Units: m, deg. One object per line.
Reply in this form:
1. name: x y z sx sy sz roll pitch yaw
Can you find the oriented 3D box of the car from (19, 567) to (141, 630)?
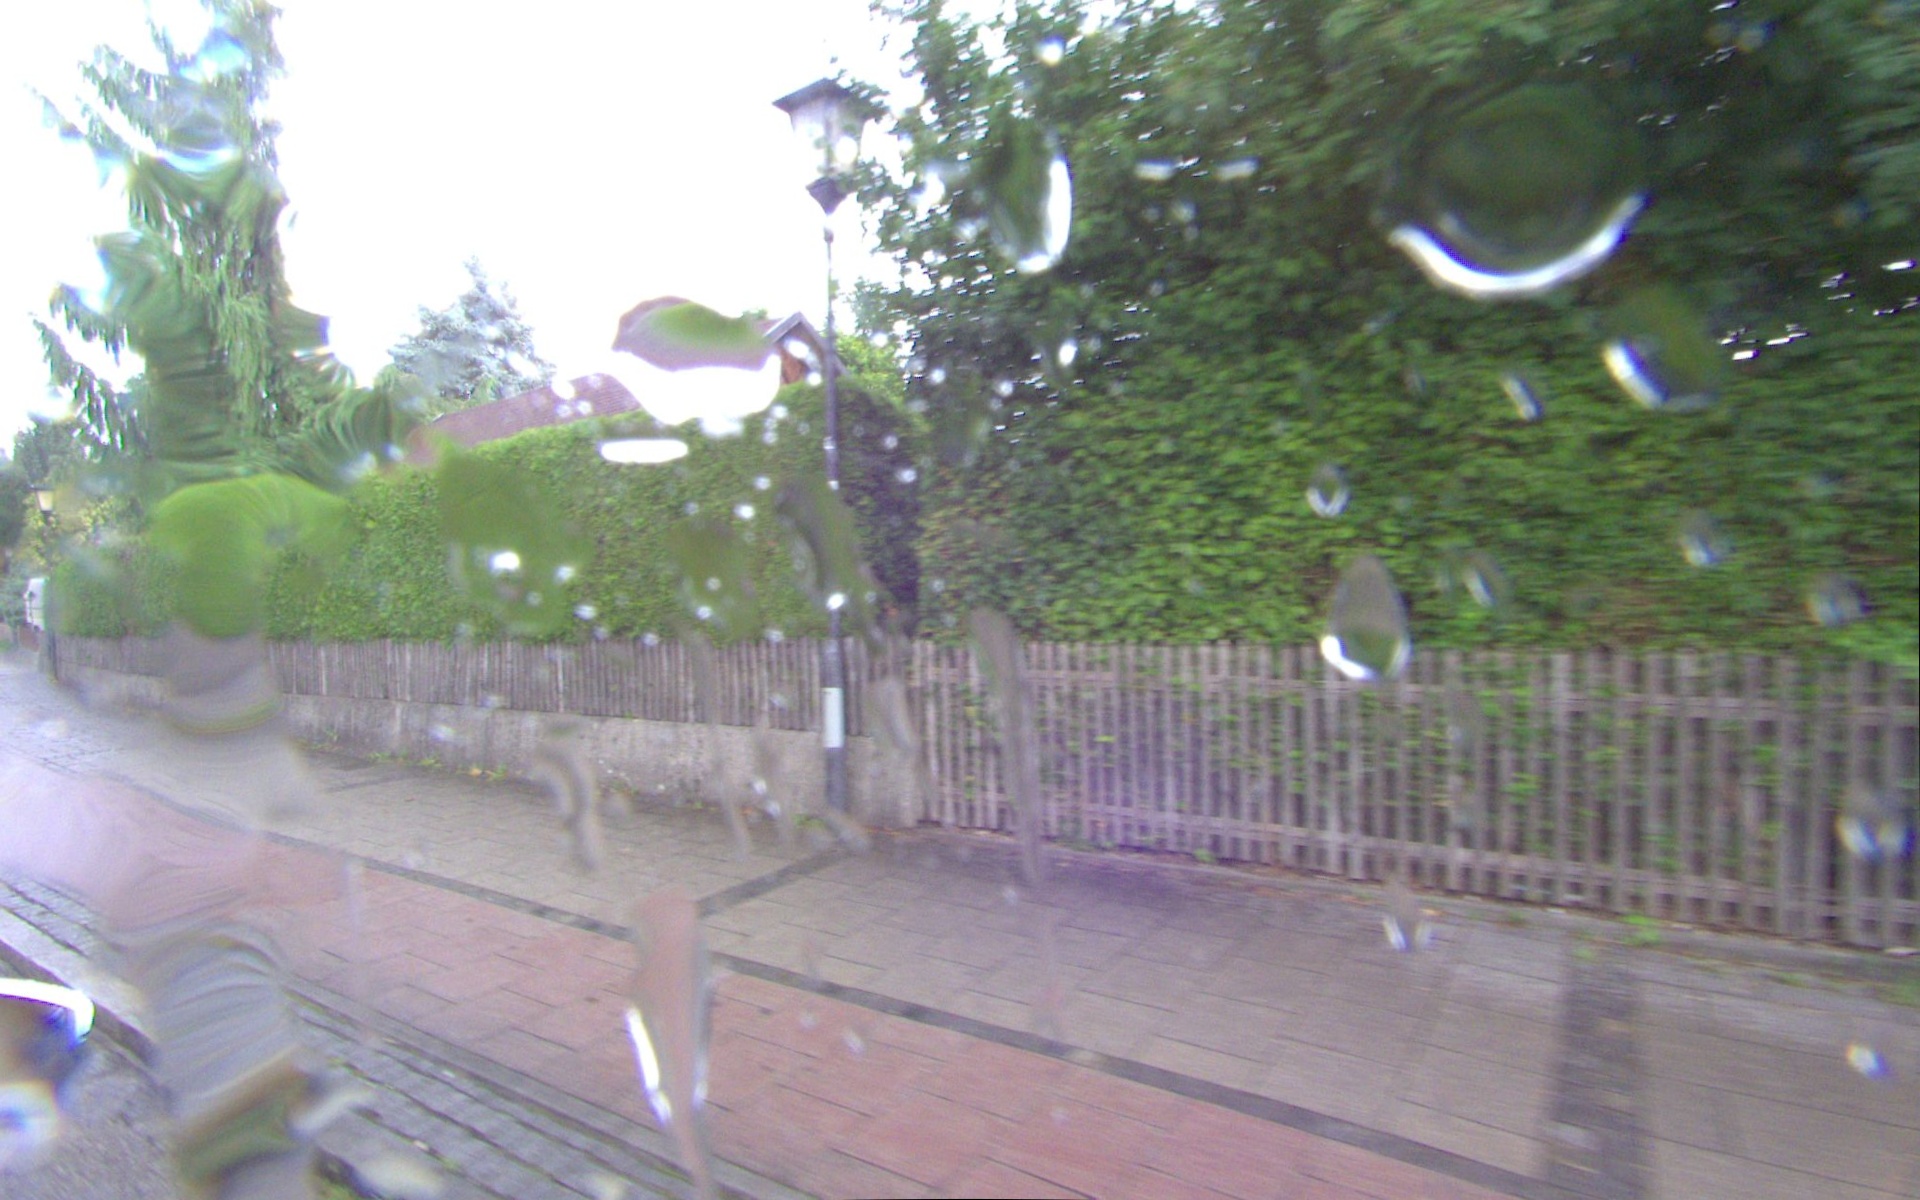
1. car: -32.863 0.009 37.381 4.880 2.201 1.991 -1 -2 30
